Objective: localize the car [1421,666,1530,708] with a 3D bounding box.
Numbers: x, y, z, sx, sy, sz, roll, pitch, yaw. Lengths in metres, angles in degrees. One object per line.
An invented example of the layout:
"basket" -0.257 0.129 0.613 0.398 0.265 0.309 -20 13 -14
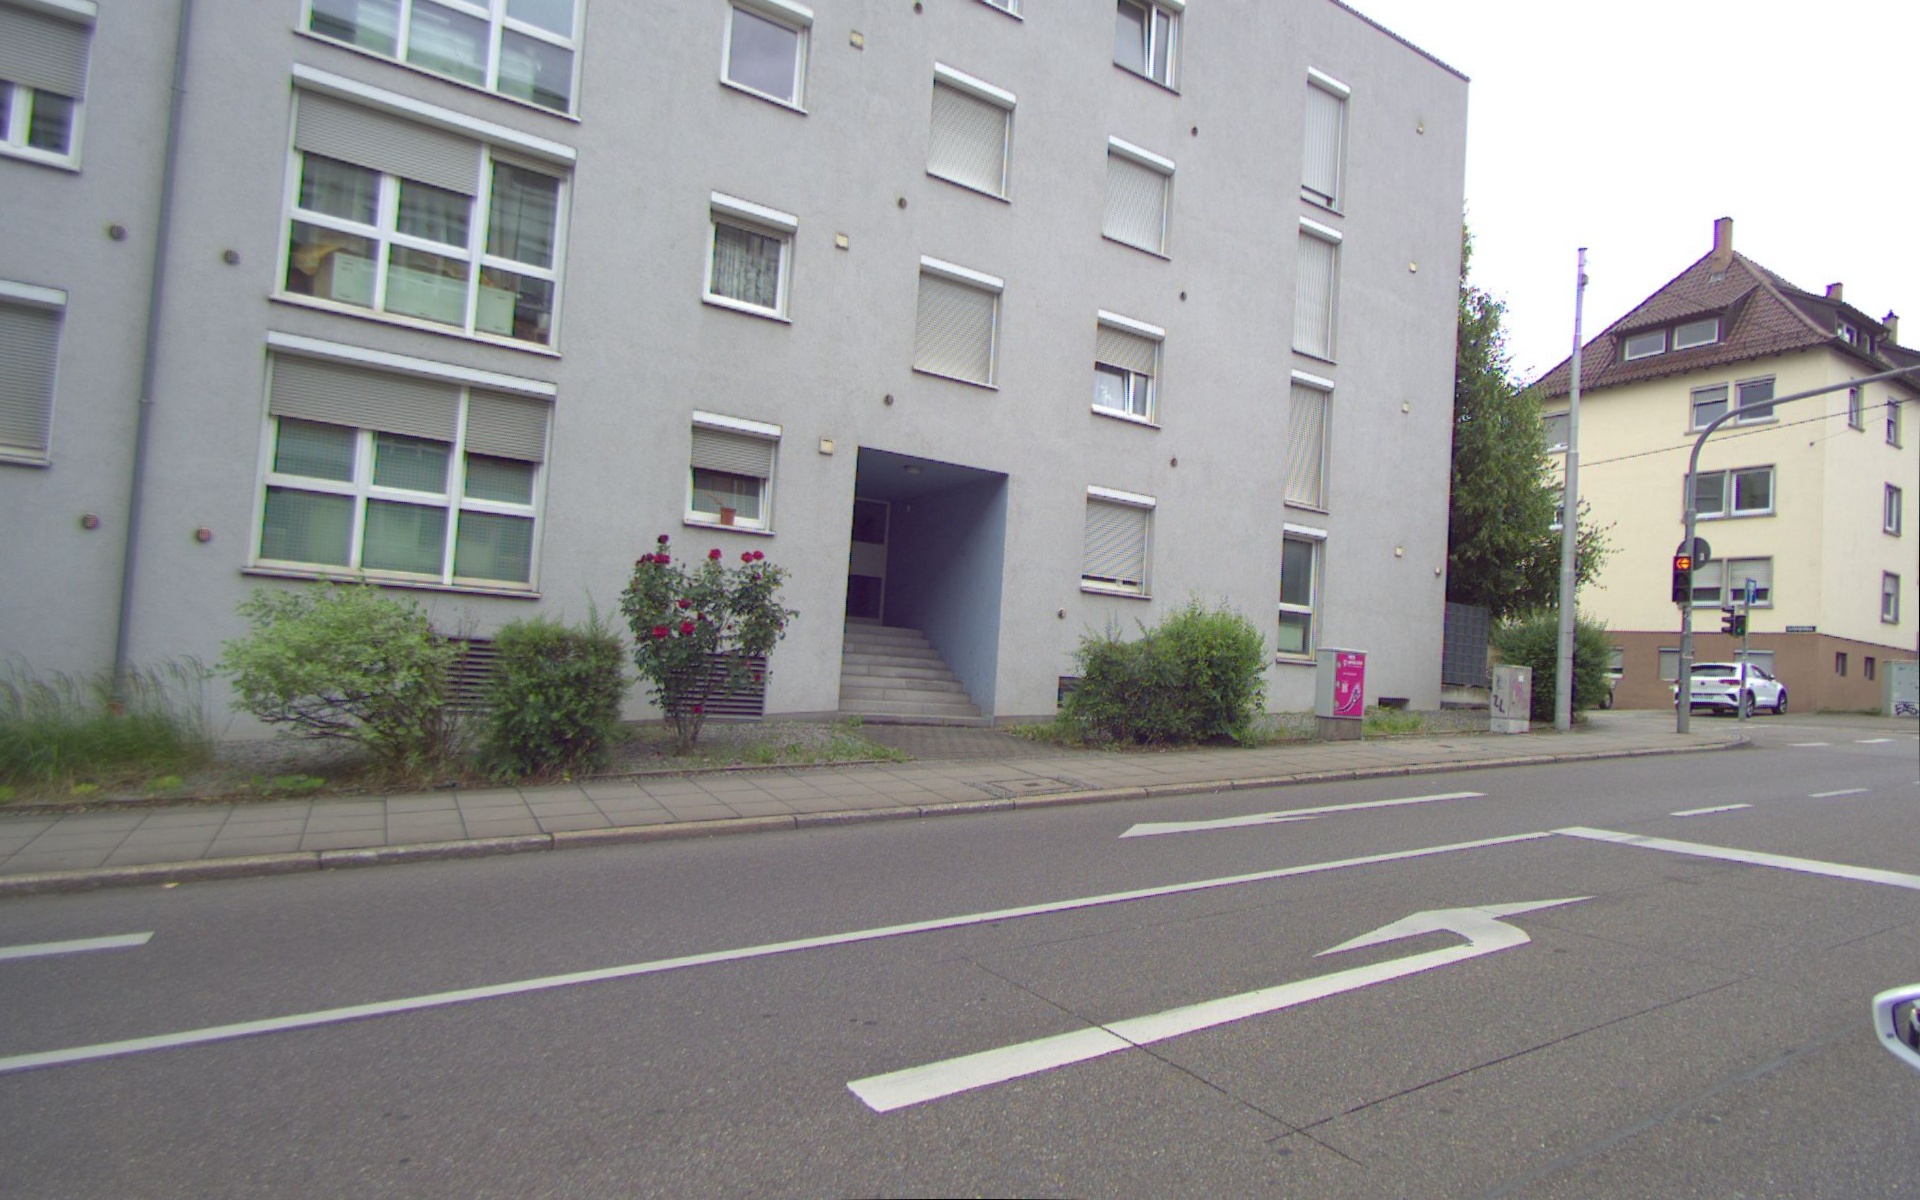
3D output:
"car" 18.689 3.141 36.408 3.954 1.380 1.662 3 -1 -30

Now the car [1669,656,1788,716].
"car" 22.932 2.532 29.951 3.960 1.683 1.660 3 -4 -35

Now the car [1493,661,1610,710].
"car" 20.131 2.902 34.143 4.054 1.566 1.662 3 -5 -30
